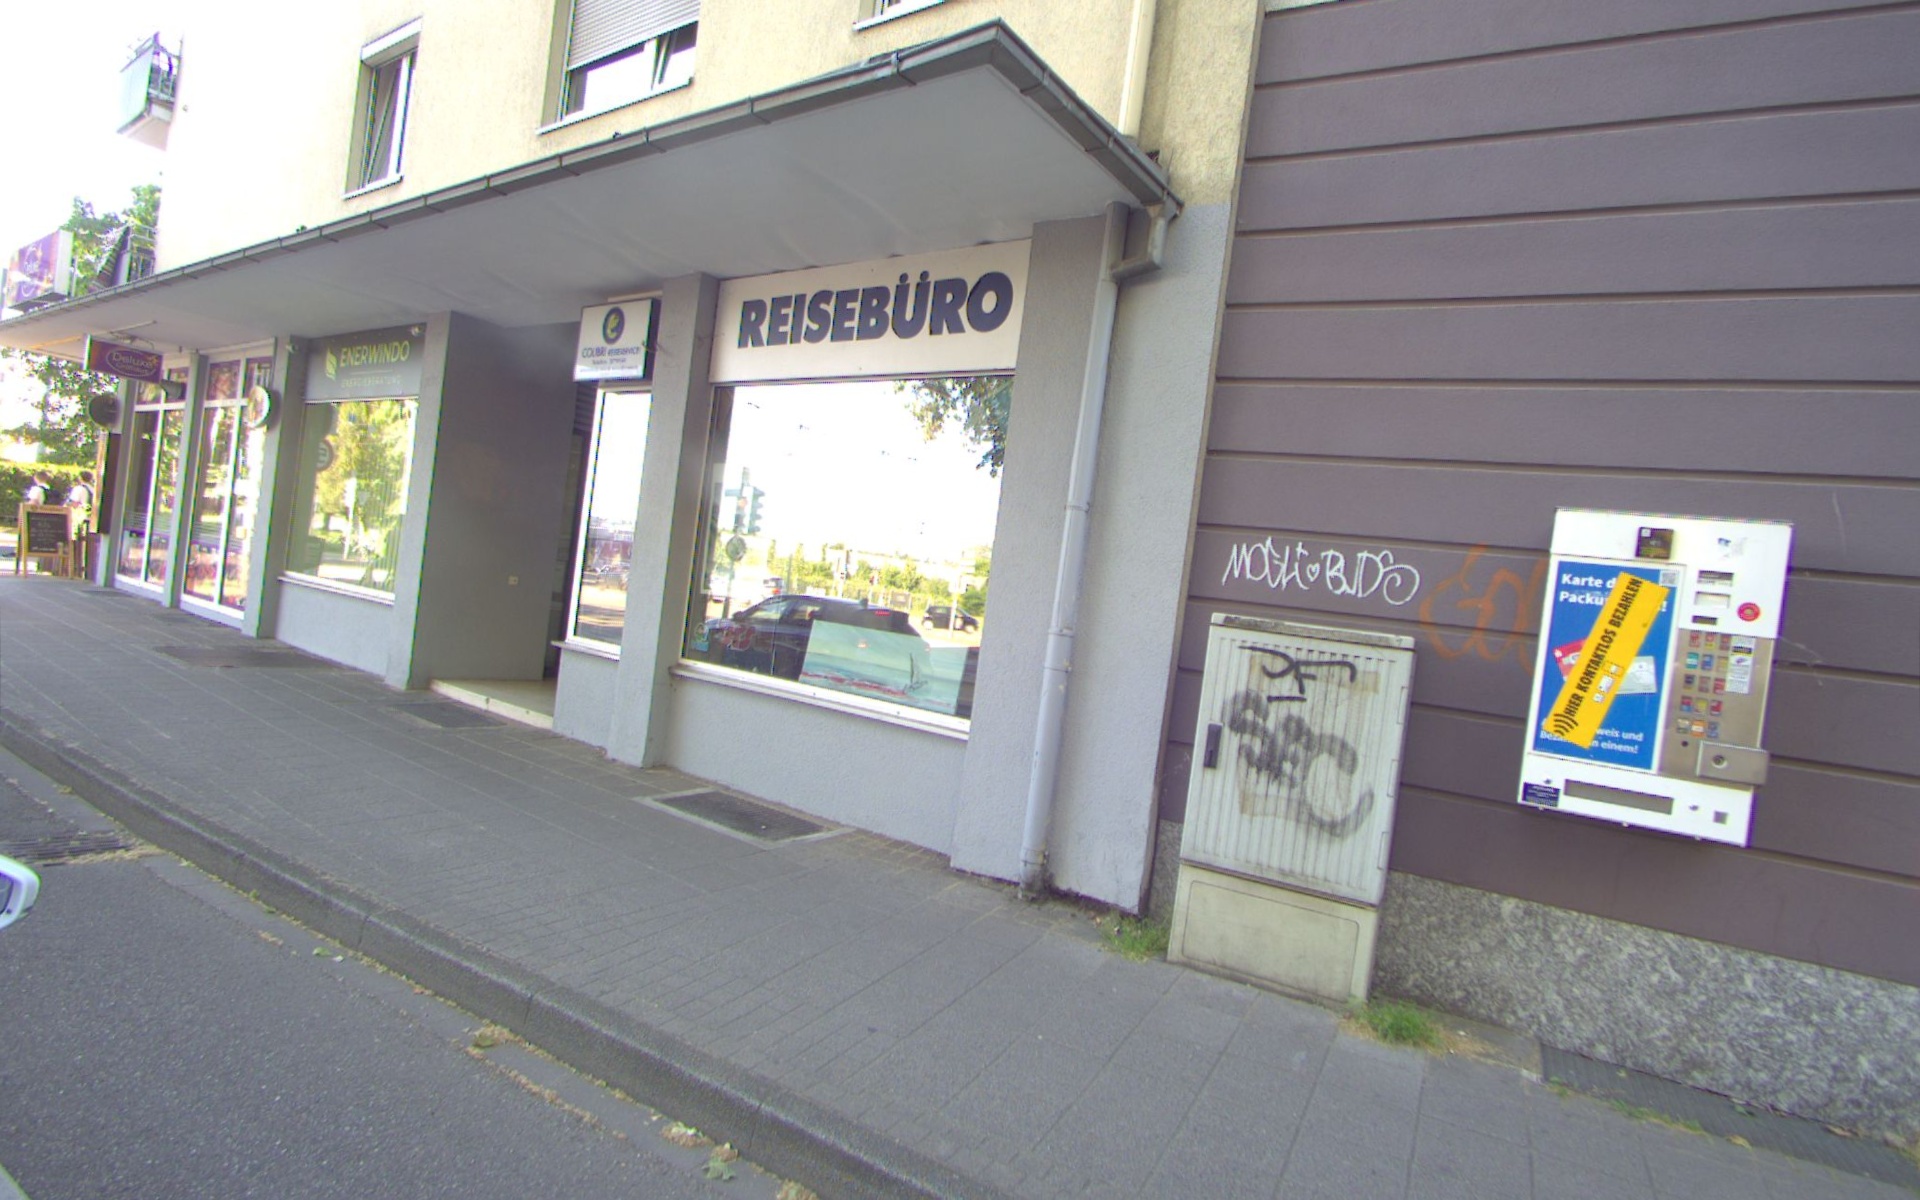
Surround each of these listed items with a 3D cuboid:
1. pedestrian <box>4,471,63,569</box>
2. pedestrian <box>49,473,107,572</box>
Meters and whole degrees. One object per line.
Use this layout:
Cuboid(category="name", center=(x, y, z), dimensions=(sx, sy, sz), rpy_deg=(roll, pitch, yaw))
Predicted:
Cuboid(category="pedestrian", center=(-17.949, -1.533, 19.502), dimensions=(0.630, 1.783, 0.576), rpy_deg=(8, -1, -40))
Cuboid(category="pedestrian", center=(-17.462, -1.525, 19.929), dimensions=(0.630, 1.841, 0.738), rpy_deg=(8, -1, -38))
